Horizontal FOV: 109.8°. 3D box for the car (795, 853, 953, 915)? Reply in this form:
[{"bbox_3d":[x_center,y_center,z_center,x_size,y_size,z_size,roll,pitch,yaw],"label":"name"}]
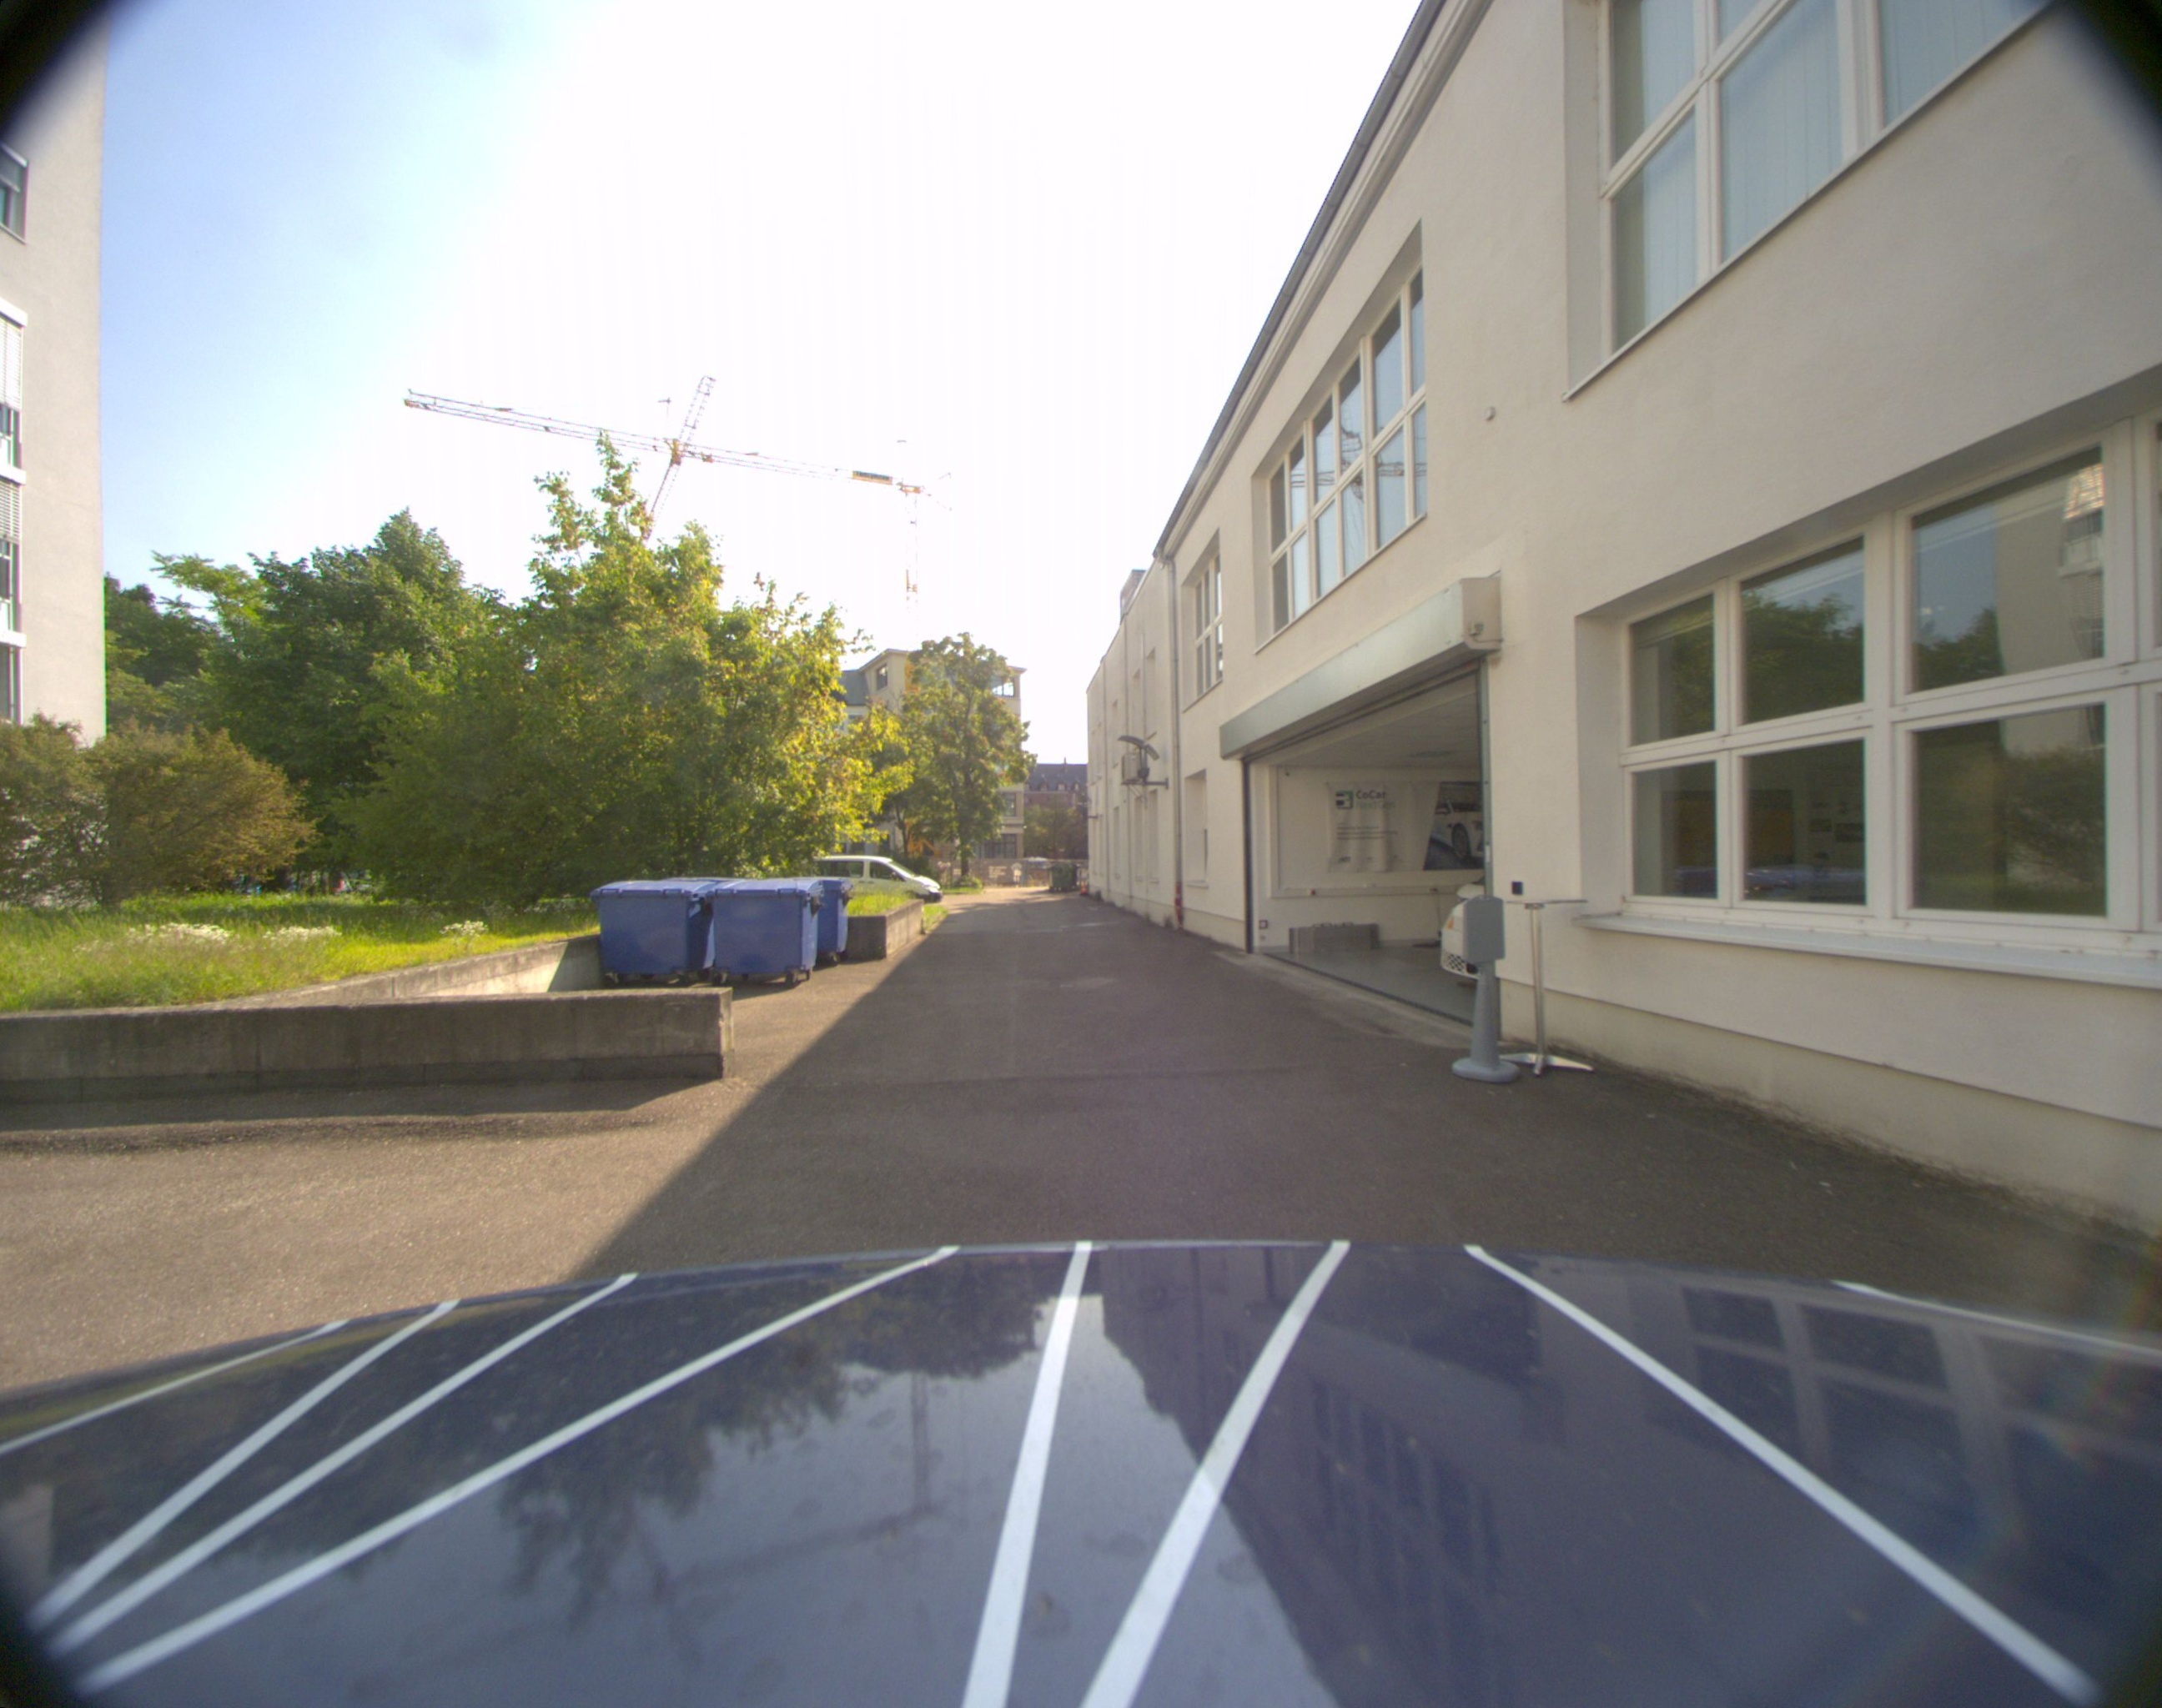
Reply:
[{"bbox_3d":[-7.132,1.004,26.665,4.971,1.910,2.043,-2,1,-4],"label":"car"}]

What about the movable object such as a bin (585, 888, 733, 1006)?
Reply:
[{"bbox_3d":[-5.308,1.136,9.658,1.238,1.333,1.116,-1,1,-2],"label":"movable object such as a bin"}]

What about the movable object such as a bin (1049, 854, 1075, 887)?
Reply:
[{"bbox_3d":[-1.058,0.881,41.377,1.184,1.696,1.376,-2,1,-10],"label":"movable object such as a bin"}]

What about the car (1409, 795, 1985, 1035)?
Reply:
[{"bbox_3d":[6.378,0.535,8.225,4.761,2.080,2.054,-2,1,-6],"label":"car"}]

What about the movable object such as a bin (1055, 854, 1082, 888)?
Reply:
[{"bbox_3d":[-0.647,0.881,40.016,1.184,1.696,1.376,-2,1,-10],"label":"movable object such as a bin"}]

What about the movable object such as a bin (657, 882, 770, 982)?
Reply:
[{"bbox_3d":[-5.451,1.122,11.369,1.230,1.333,1.075,-2,1,-10],"label":"movable object such as a bin"}]

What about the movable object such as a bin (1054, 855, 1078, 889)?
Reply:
[{"bbox_3d":[-0.781,0.894,38.586,1.184,1.696,1.394,-1,1,-2],"label":"movable object such as a bin"}]

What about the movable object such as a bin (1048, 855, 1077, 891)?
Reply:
[{"bbox_3d":[-0.911,0.910,36.763,1.184,1.696,1.376,-2,1,-10],"label":"movable object such as a bin"}]

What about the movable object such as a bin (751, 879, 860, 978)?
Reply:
[{"bbox_3d":[-4.122,1.090,11.497,1.313,1.333,1.099,-1,1,-9],"label":"movable object such as a bin"}]

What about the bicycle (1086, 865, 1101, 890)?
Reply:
[{"bbox_3d":[0.619,1.176,38.460,0.477,1.206,2.007,-1,1,-7],"label":"bicycle"}]

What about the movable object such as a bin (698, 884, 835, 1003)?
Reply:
[{"bbox_3d":[-3.981,1.097,9.751,1.304,1.333,1.194,-1,1,-7],"label":"movable object such as a bin"}]
